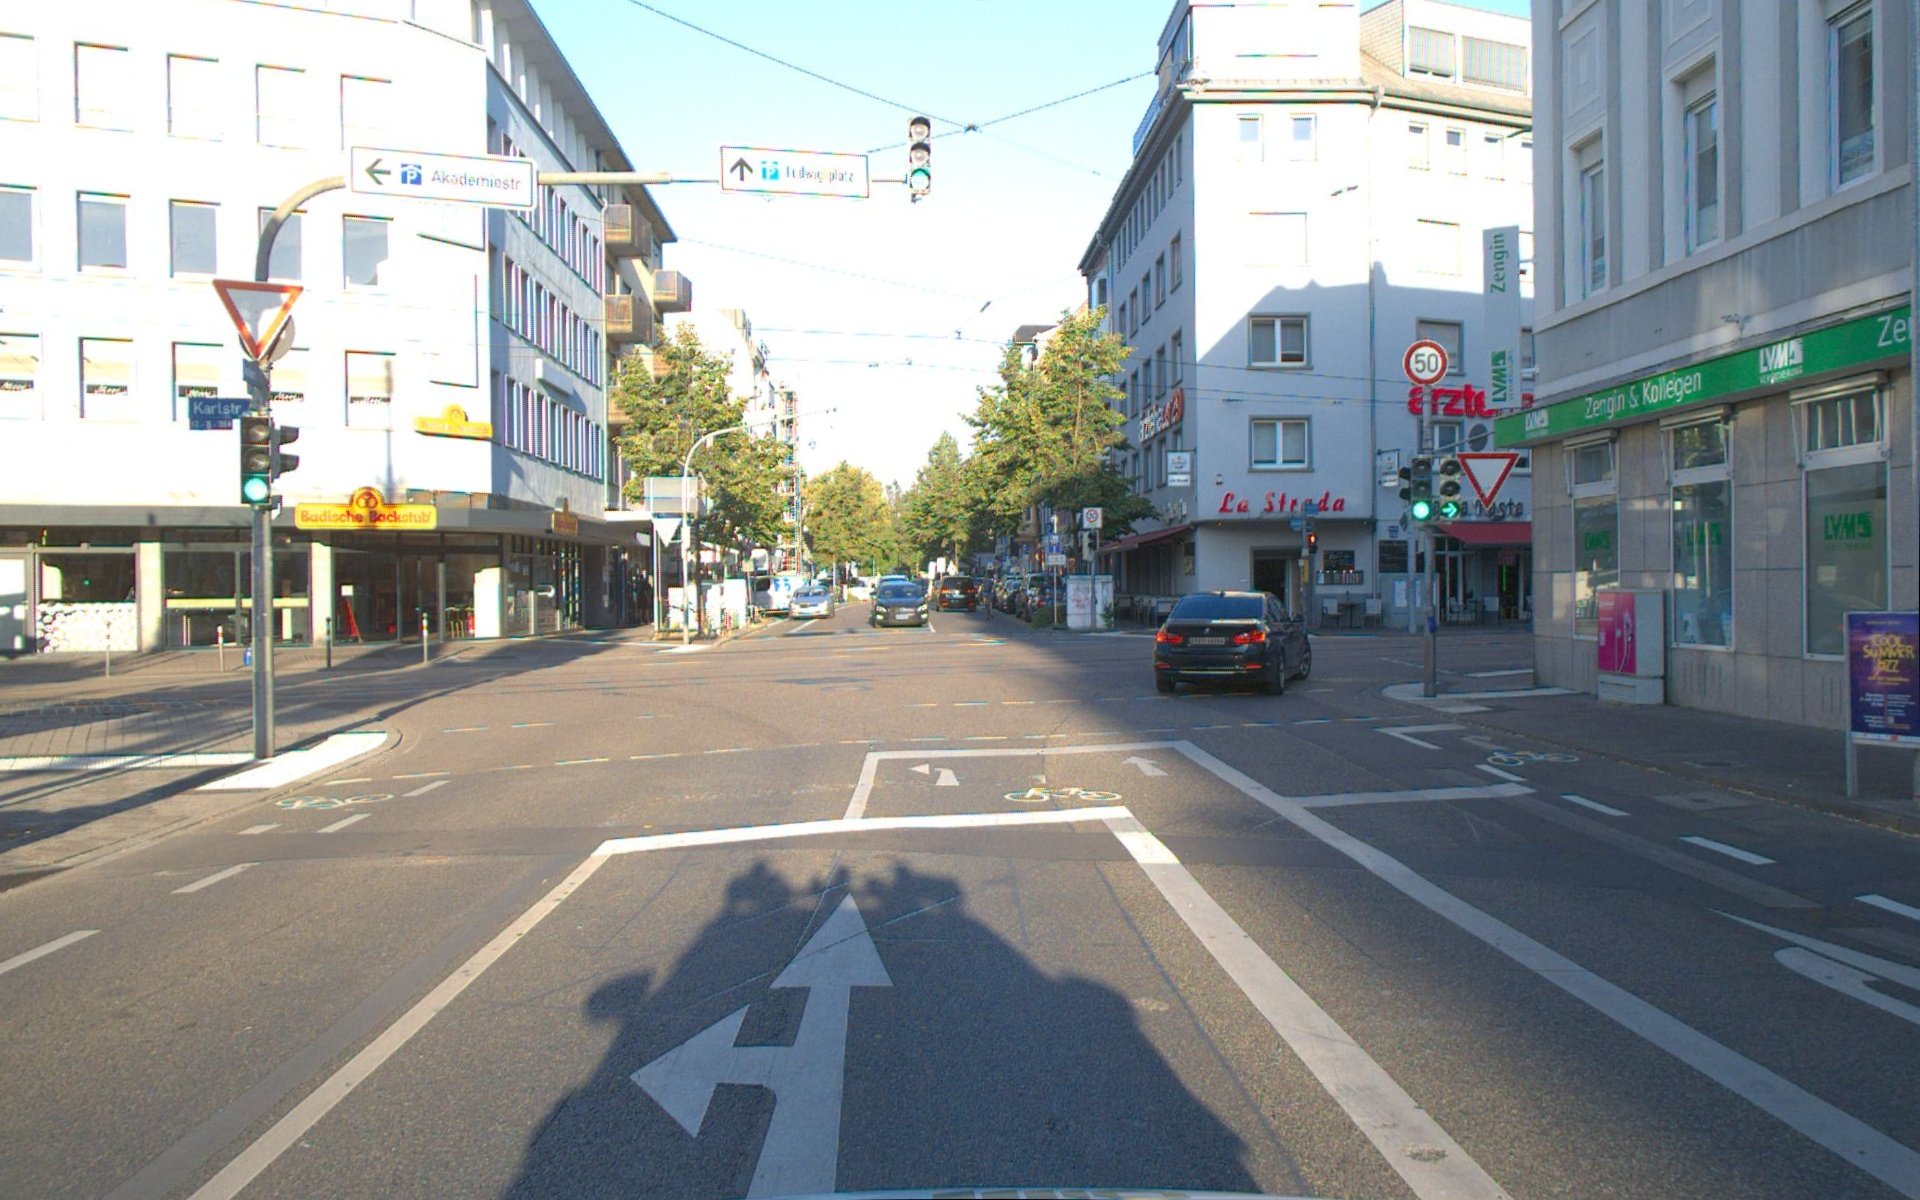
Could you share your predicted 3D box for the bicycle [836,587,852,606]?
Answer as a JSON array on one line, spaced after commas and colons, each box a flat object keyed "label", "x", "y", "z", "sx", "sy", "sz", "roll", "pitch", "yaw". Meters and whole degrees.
[{"label": "bicycle", "x": -8.455, "y": -0.272, "z": 120.155, "sx": 0.829, "sy": 1.374, "sz": 3.179, "roll": -1, "pitch": 0, "yaw": -10}]

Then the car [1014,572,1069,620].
[{"label": "car", "x": 3.194, "y": -0.181, "z": 65.649, "sx": 1.622, "sy": 1.809, "sz": 4.008, "roll": 1, "pitch": 1, "yaw": -5}]

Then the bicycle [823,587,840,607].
[{"label": "bicycle", "x": -9.322, "y": -0.237, "z": 119.983, "sx": 0.876, "sy": 1.420, "sz": 3.158, "roll": 0, "pitch": 0, "yaw": -10}]

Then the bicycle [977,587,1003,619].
[{"label": "bicycle", "x": 1.160, "y": 0.115, "z": 64.302, "sx": 0.765, "sy": 1.225, "sz": 2.019, "roll": -2, "pitch": 0, "yaw": -4}]

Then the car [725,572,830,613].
[{"label": "car", "x": -8.577, "y": -0.348, "z": 78.054, "sx": 1.964, "sy": 1.860, "sz": 4.852, "roll": 0, "pitch": 0, "yaw": 41}]

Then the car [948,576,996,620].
[{"label": "car", "x": 0.423, "y": -0.063, "z": 64.195, "sx": 1.689, "sy": 1.576, "sz": 4.463, "roll": -2, "pitch": 0, "yaw": -2}]

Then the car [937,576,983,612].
[{"label": "car", "x": 0.011, "y": -0.263, "z": 76.218, "sx": 1.952, "sy": 1.629, "sz": 4.510, "roll": 1, "pitch": 0, "yaw": 2}]

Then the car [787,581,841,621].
[{"label": "car", "x": -6.227, "y": 0.043, "z": 70.887, "sx": 1.954, "sy": 1.538, "sz": 4.507, "roll": -3, "pitch": 0, "yaw": -2}]

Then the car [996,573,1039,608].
[{"label": "car", "x": 2.977, "y": -0.466, "z": 87.110, "sx": 1.846, "sy": 1.785, "sz": 5.056, "roll": 1, "pitch": 0, "yaw": -3}]

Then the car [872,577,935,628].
[{"label": "car", "x": -1.951, "y": 0.046, "z": 55.846, "sx": 1.919, "sy": 1.574, "sz": 4.506, "roll": -1, "pitch": 1, "yaw": -4}]

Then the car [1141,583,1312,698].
[{"label": "car", "x": 4.015, "y": 0.506, "z": 24.319, "sx": 1.951, "sy": 1.444, "sz": 4.513, "roll": 0, "pitch": 1, "yaw": 16}]

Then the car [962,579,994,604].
[{"label": "car", "x": 1.223, "y": -0.560, "z": 115.454, "sx": 1.789, "sy": 1.725, "sz": 4.364, "roll": 1, "pitch": 0, "yaw": -5}]

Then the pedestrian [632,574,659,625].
[{"label": "pedestrian", "x": -11.765, "y": -0.031, "z": 61.905, "sx": 0.751, "sy": 1.879, "sz": 0.744, "roll": 0, "pitch": 1, "yaw": 8}]

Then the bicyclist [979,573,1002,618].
[{"label": "bicyclist", "x": 1.178, "y": -0.176, "z": 64.392, "sx": 0.765, "sy": 1.726, "sz": 1.006, "roll": -1, "pitch": 0, "yaw": -4}]

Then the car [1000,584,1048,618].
[{"label": "car", "x": 2.818, "y": 0.011, "z": 73.569, "sx": 1.718, "sy": 1.445, "sz": 4.507, "roll": 1, "pitch": 1, "yaw": -3}]

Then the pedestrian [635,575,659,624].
[{"label": "pedestrian", "x": -12.010, "y": -0.043, "z": 63.541, "sx": 0.725, "sy": 1.850, "sz": 0.813, "roll": -1, "pitch": 1, "yaw": 0}]

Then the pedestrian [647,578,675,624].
[{"label": "pedestrian", "x": -11.362, "y": 0.032, "z": 62.868, "sx": 0.756, "sy": 1.705, "sz": 0.739, "roll": 0, "pitch": 0, "yaw": 40}]
